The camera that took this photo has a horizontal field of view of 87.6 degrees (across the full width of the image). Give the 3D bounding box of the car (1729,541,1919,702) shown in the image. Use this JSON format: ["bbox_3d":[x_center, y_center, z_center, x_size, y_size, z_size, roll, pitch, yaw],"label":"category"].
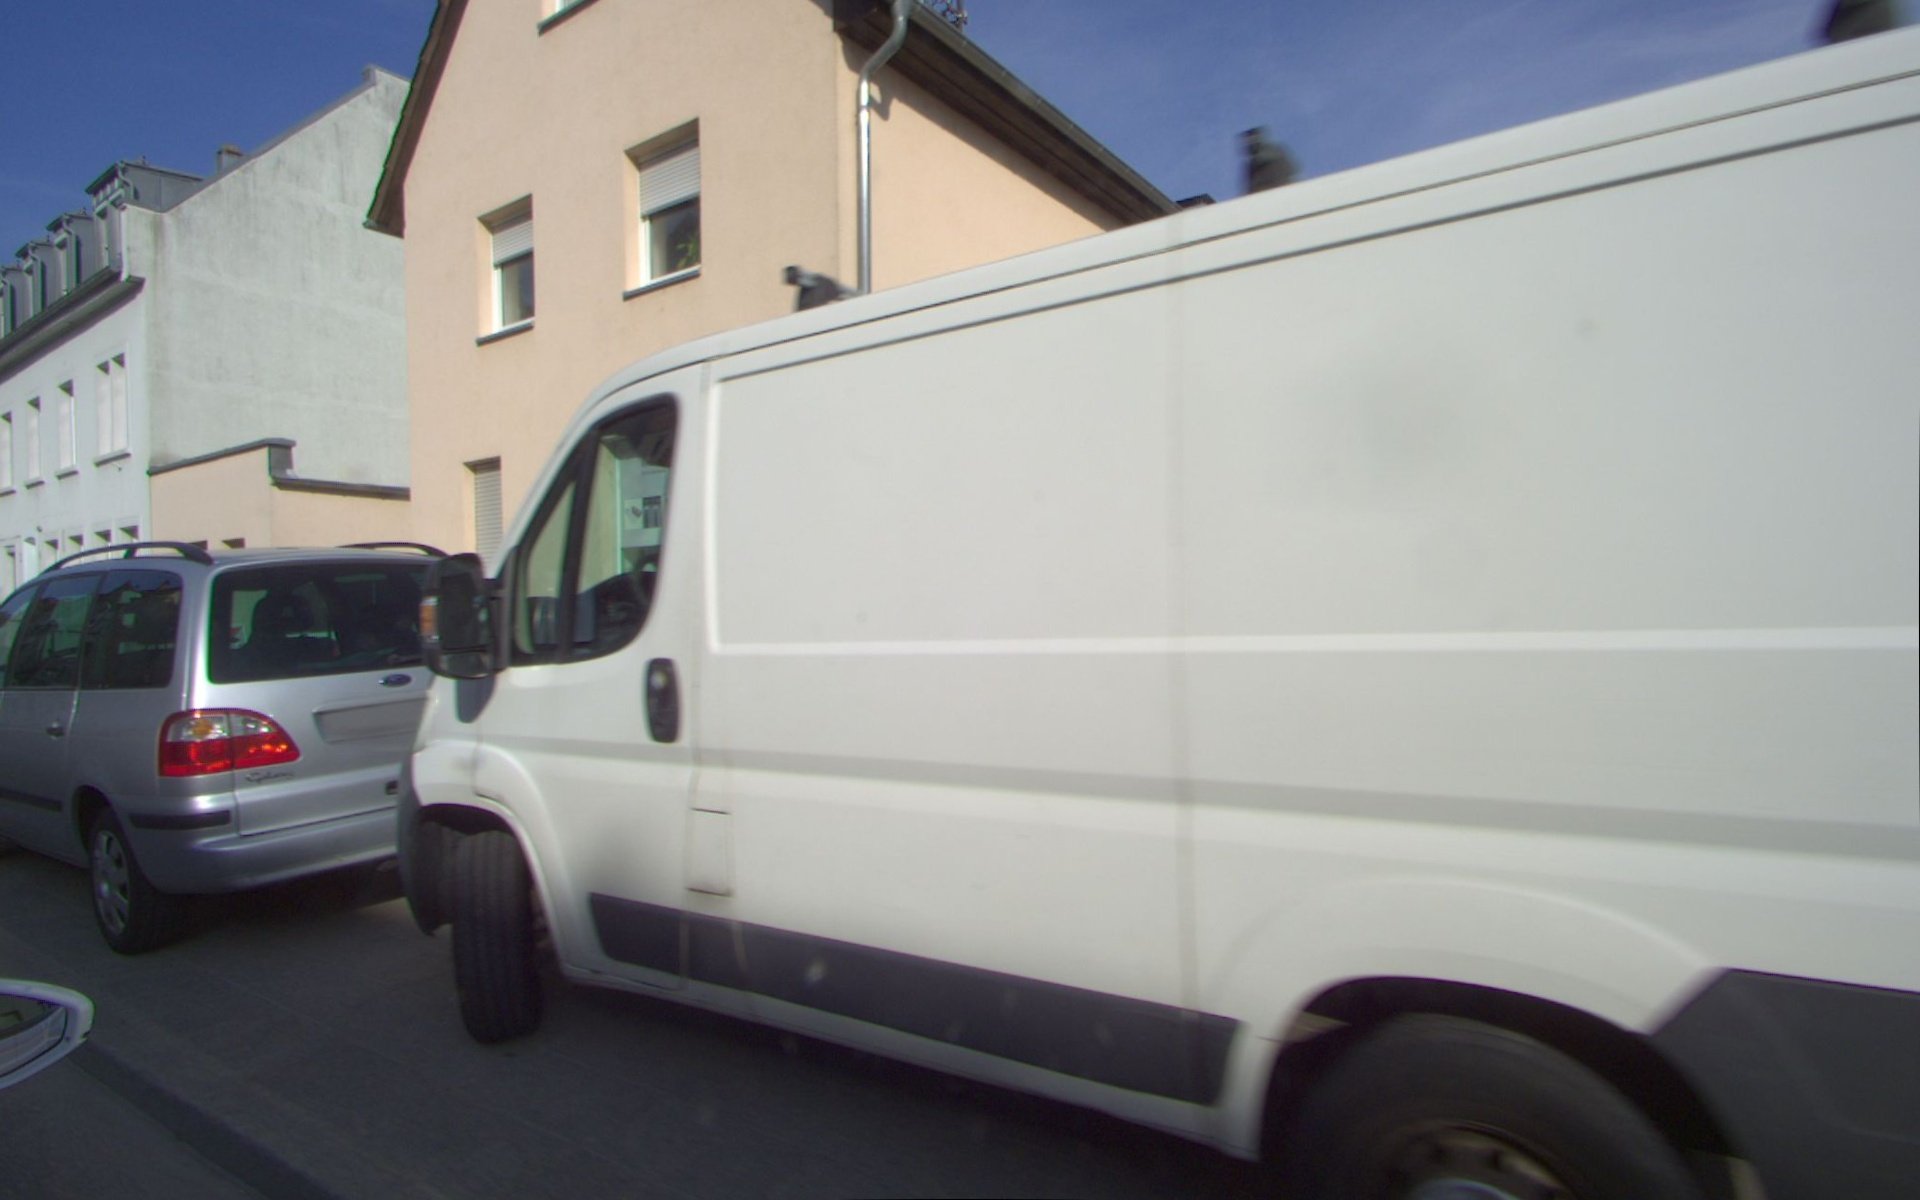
[{"bbox_3d":[11.807,0.222,13.441,1.895,1.871,3.816,1,1,31],"label":"car"}]

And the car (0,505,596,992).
[{"bbox_3d":[-4.196,0.544,5.594,4.421,1.764,1.772,-1,1,34],"label":"car"}]

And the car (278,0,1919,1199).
[{"bbox_3d":[0.190,0.148,3.237,4.926,2.359,2.169,0,2,33],"label":"car"}]
